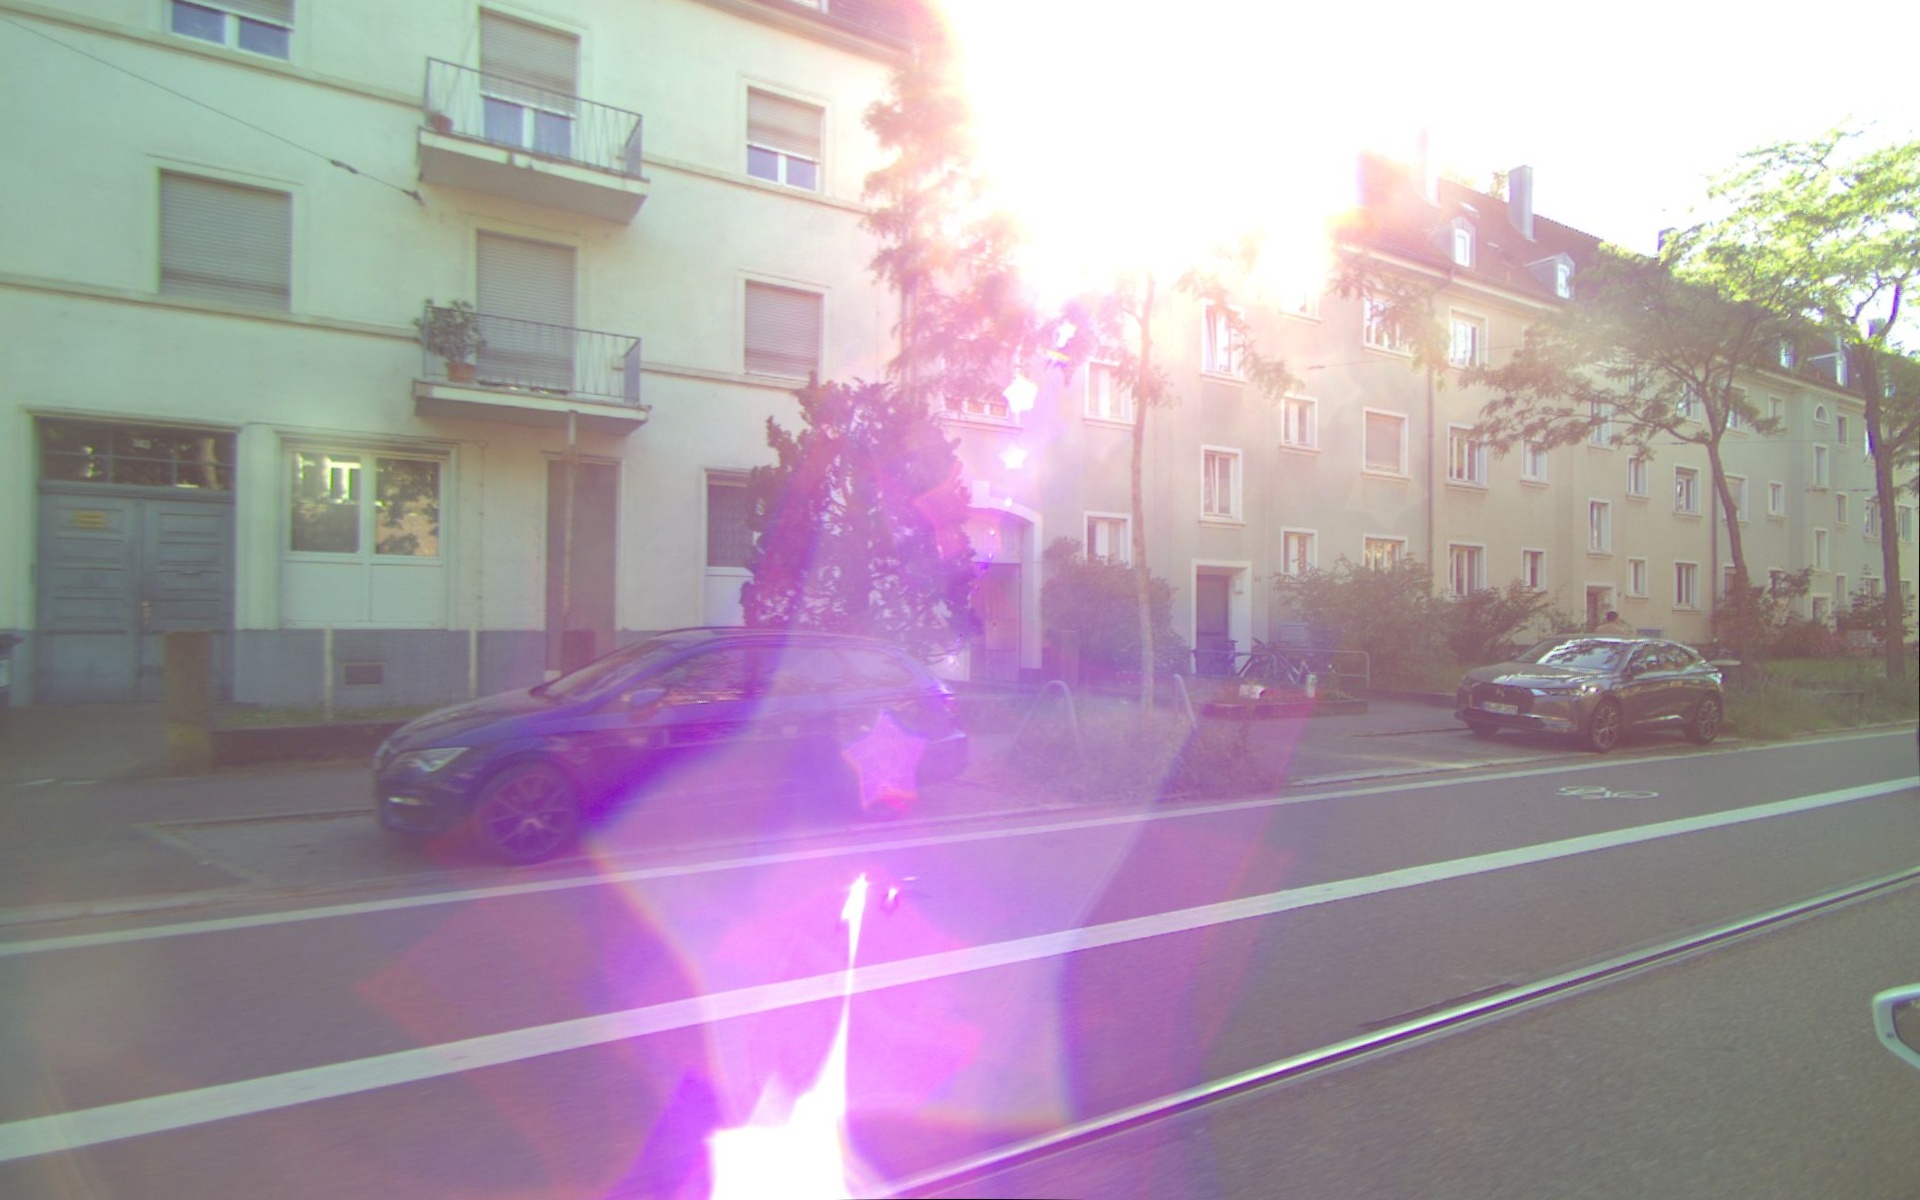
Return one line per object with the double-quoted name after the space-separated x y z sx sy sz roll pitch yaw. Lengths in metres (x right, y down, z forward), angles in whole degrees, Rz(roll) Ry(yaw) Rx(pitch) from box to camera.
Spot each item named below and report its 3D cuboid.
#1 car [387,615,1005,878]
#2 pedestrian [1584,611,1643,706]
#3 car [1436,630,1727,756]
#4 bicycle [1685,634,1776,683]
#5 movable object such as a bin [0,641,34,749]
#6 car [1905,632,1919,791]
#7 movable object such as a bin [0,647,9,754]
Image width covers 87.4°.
-1.950 0.930 7.903 4.389 1.531 1.748 1 0 -32 "car"
12.902 1.138 19.824 0.804 1.825 0.688 1 -1 -30 "pedestrian"
8.882 1.216 14.285 4.157 1.505 1.808 1 0 -31 "car"
21.087 1.587 27.534 0.516 1.193 1.896 1 1 -32 "bicycle"
-9.473 0.905 9.640 0.723 0.989 0.557 1 1 -27 "movable object such as a bin"
11.126 1.064 9.771 4.473 1.458 1.748 1 -1 -32 "car"
-9.204 0.933 9.092 0.723 0.989 0.557 1 1 -27 "movable object such as a bin"
